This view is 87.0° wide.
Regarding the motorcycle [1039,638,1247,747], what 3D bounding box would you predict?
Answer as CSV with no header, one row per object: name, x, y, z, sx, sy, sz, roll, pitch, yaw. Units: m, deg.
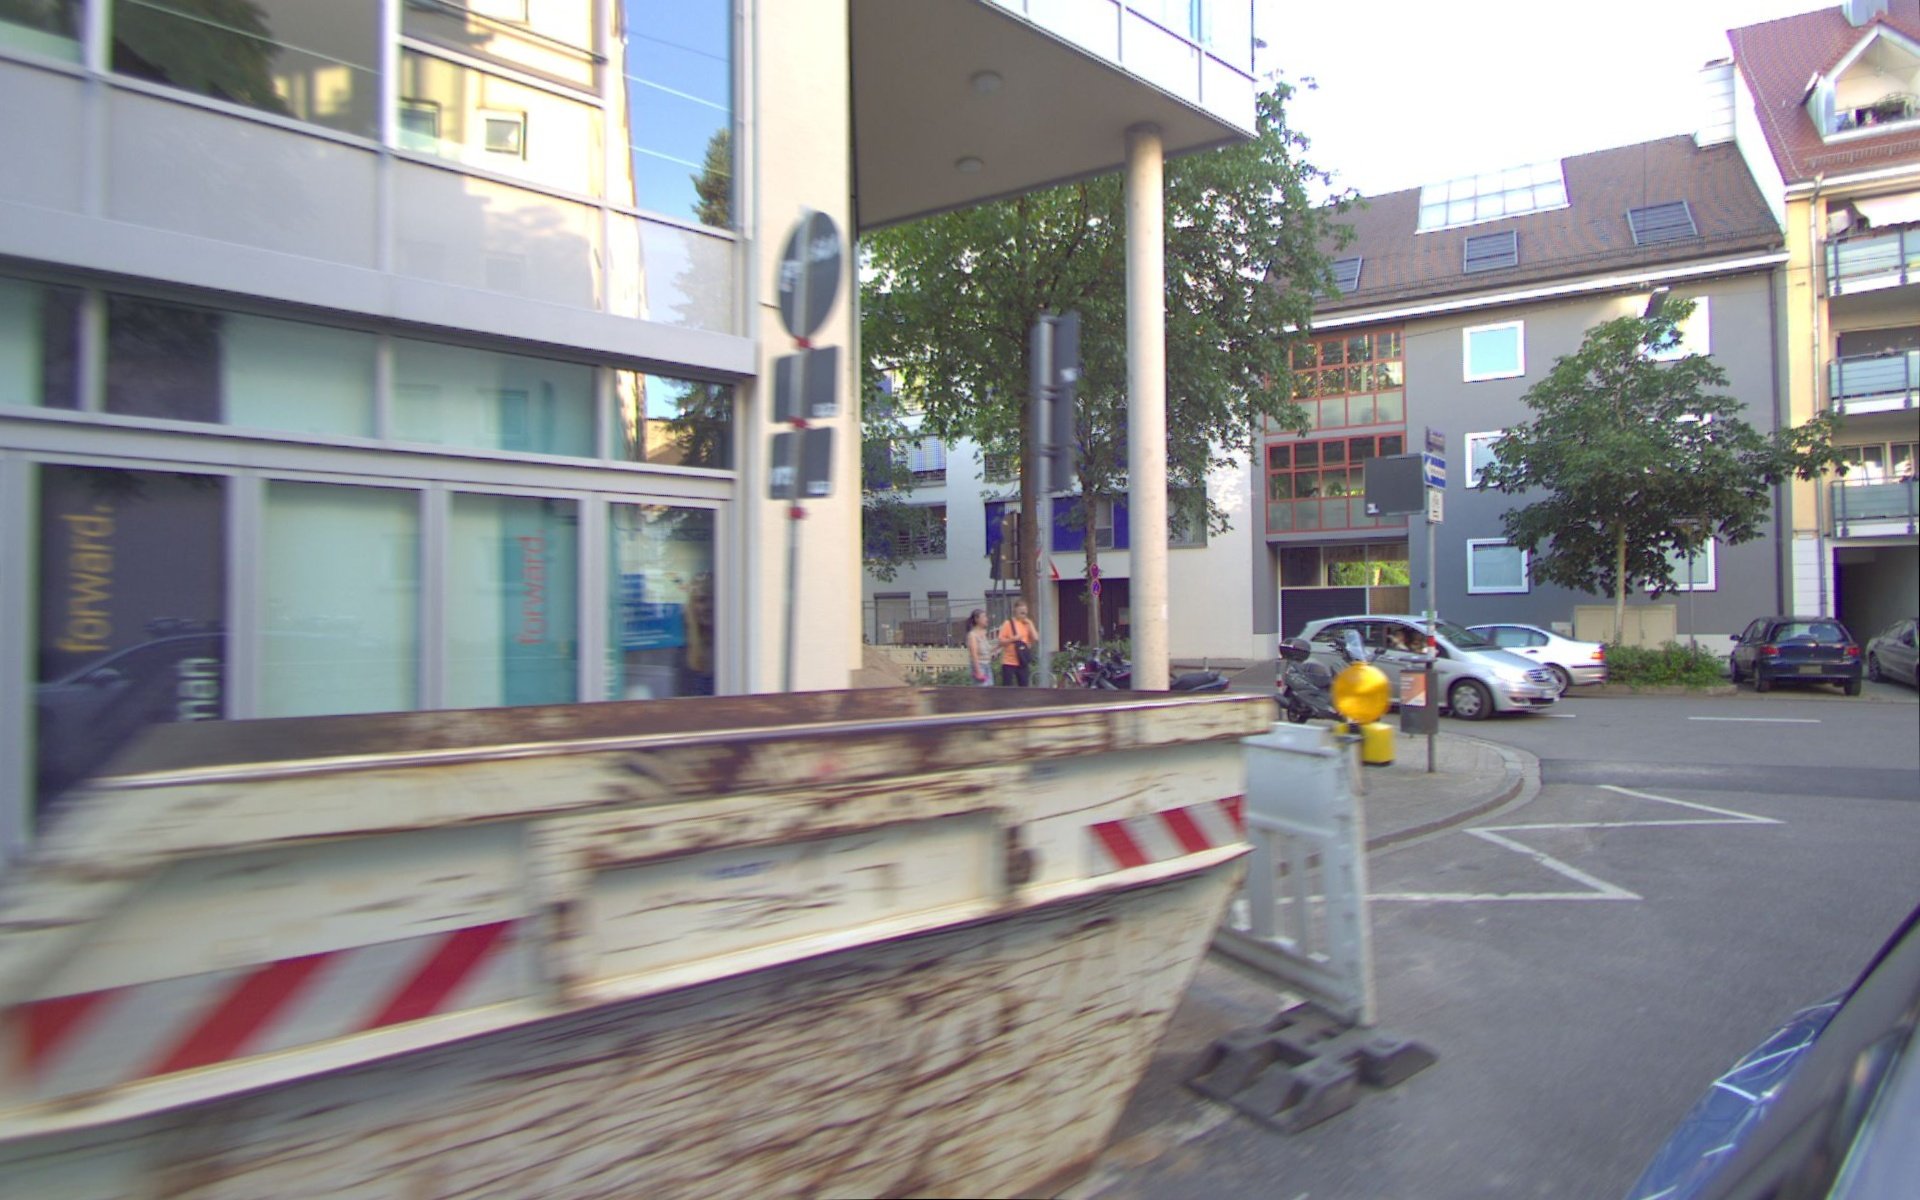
motorcycle,2.046,1.009,11.381,2.223,1.138,0.637,-1,-2,20

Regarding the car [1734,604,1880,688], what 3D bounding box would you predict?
car,17.473,0.868,21.060,1.618,1.468,3.819,0,1,29

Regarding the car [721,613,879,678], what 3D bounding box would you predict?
car,-4.040,1.119,25.489,3.700,1.527,1.785,-1,-2,32

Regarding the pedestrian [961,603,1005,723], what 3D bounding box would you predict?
pedestrian,0.303,0.815,13.365,0.462,1.550,0.409,0,-2,-17

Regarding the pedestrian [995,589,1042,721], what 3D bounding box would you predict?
pedestrian,0.781,0.727,13.506,0.502,1.726,0.409,0,-2,-16

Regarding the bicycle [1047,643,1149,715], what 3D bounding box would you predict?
bicycle,2.109,1.193,15.582,1.517,1.054,0.371,-1,-2,28

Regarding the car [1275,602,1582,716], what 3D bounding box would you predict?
car,7.584,0.926,16.798,1.771,1.638,4.270,0,-3,-36

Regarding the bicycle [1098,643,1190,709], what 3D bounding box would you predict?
bicycle,3.151,1.287,17.411,1.517,1.079,0.372,-1,-2,28

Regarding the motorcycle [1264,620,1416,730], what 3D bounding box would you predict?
motorcycle,5.284,1.005,14.271,0.783,1.413,2.212,1,-2,-18

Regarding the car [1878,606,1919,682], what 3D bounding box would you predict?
car,19.718,0.888,19.740,1.732,1.420,4.204,0,1,29

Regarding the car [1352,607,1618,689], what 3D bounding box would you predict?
car,10.336,0.963,20.169,4.499,1.469,1.869,-1,-4,30
